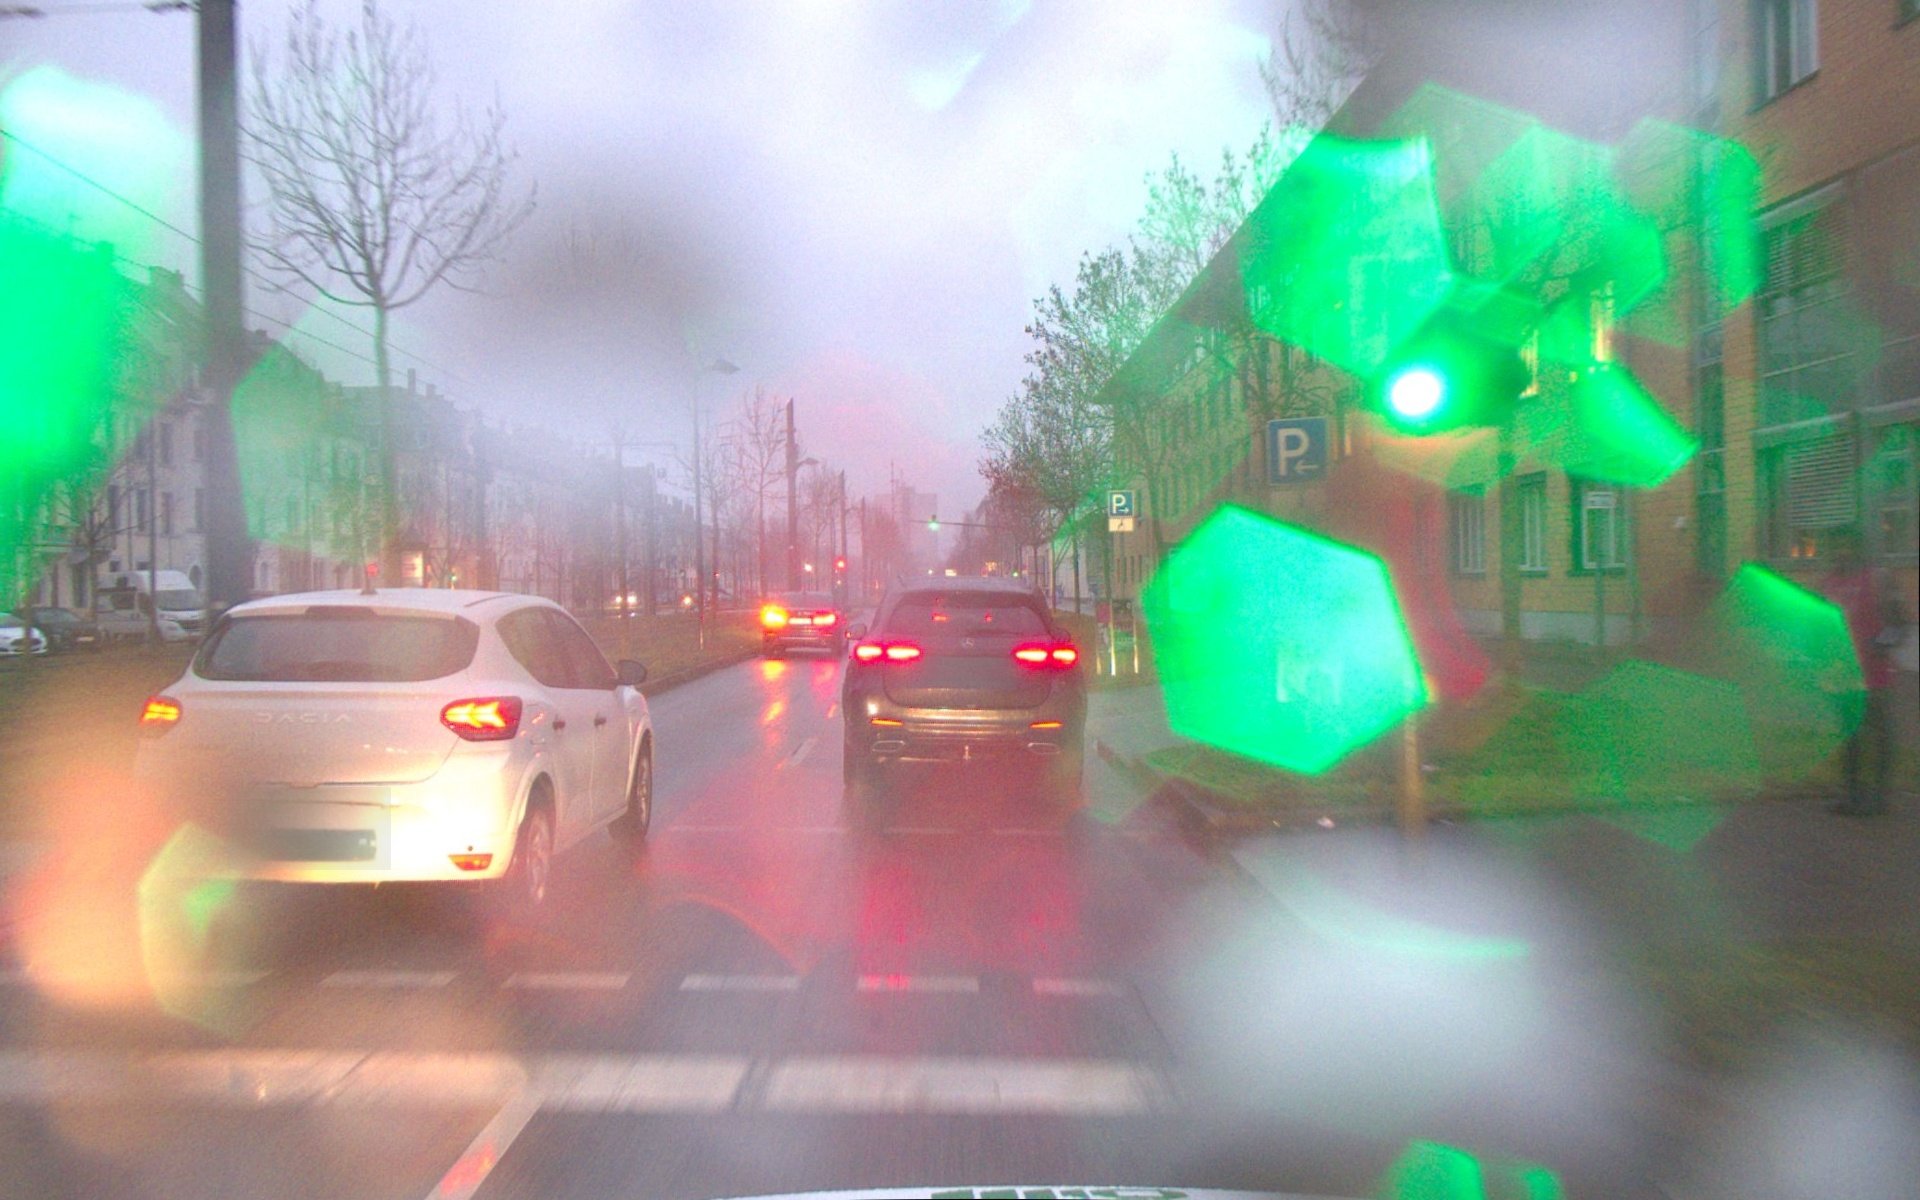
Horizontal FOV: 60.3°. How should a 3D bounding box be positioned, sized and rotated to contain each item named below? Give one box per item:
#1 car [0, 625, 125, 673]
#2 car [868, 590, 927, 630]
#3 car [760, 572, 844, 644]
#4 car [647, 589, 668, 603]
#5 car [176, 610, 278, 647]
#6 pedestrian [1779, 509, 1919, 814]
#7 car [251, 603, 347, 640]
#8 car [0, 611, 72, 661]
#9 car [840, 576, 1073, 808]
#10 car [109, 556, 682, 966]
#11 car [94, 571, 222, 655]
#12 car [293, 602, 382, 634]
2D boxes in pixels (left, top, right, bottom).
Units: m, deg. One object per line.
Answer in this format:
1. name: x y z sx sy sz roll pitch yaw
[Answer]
1. car: -28.223 1.532 51.971 3.921 1.355 1.992 -1 0 37
2. car: -2.220 0.336 59.351 1.953 1.321 3.479 -2 0 0
3. car: -3.708 0.163 39.290 1.638 1.628 4.053 0 0 -1
4. car: -33.082 -0.461 180.885 1.740 1.377 3.556 -2 1 -2
5. car: -28.911 1.137 65.211 3.921 1.355 1.992 -1 0 37
6. pedestrian: 5.450 0.355 10.039 0.499 1.772 0.650 -2 0 -34
7. car: -28.727 0.929 71.900 3.916 1.512 1.994 -1 0 34
8. car: -28.228 1.066 48.773 3.917 1.355 1.994 -1 0 34
9. car: -0.047 0.635 13.666 1.638 1.628 4.053 0 0 -1
10. car: -2.587 0.628 8.619 1.638 1.628 4.053 0 0 -1
11. car: -28.702 0.479 59.105 5.760 2.846 1.989 -1 0 41
12. car: -28.236 0.832 75.008 3.921 1.355 1.992 -1 0 37
